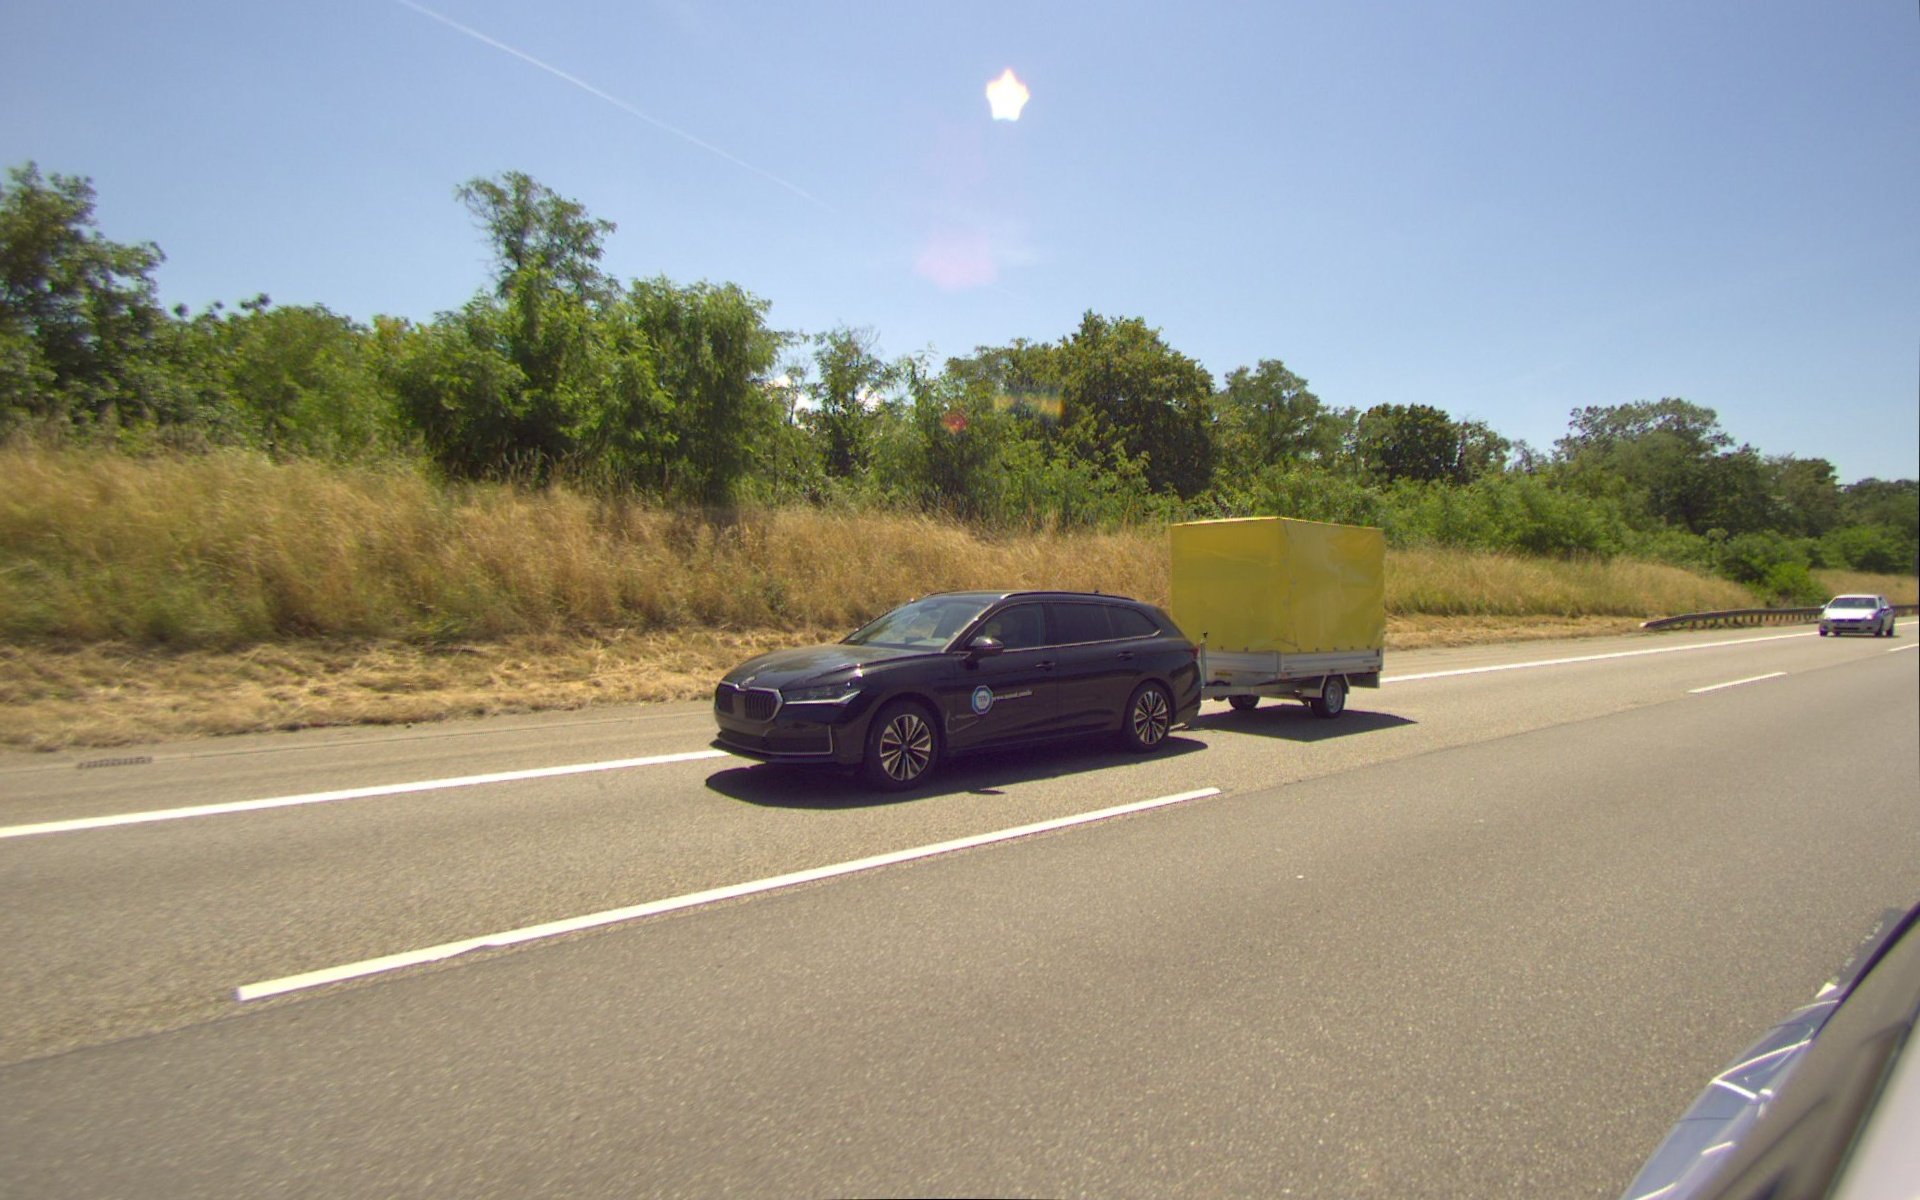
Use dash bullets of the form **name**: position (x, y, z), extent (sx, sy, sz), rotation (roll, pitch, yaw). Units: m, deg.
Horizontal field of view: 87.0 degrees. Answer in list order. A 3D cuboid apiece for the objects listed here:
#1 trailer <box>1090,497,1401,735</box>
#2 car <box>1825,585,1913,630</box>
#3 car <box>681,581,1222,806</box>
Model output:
- **trailer**: position (3.406, 0.130, 11.767), extent (3.772, 2.318, 1.706), rotation (-1, 1, -41)
- **car**: position (32.025, 0.228, 35.630), extent (3.909, 1.484, 1.749), rotation (0, 0, -39)
- **car**: position (0.151, 0.582, 8.862), extent (4.705, 1.474, 1.824), rotation (-1, 1, -41)
